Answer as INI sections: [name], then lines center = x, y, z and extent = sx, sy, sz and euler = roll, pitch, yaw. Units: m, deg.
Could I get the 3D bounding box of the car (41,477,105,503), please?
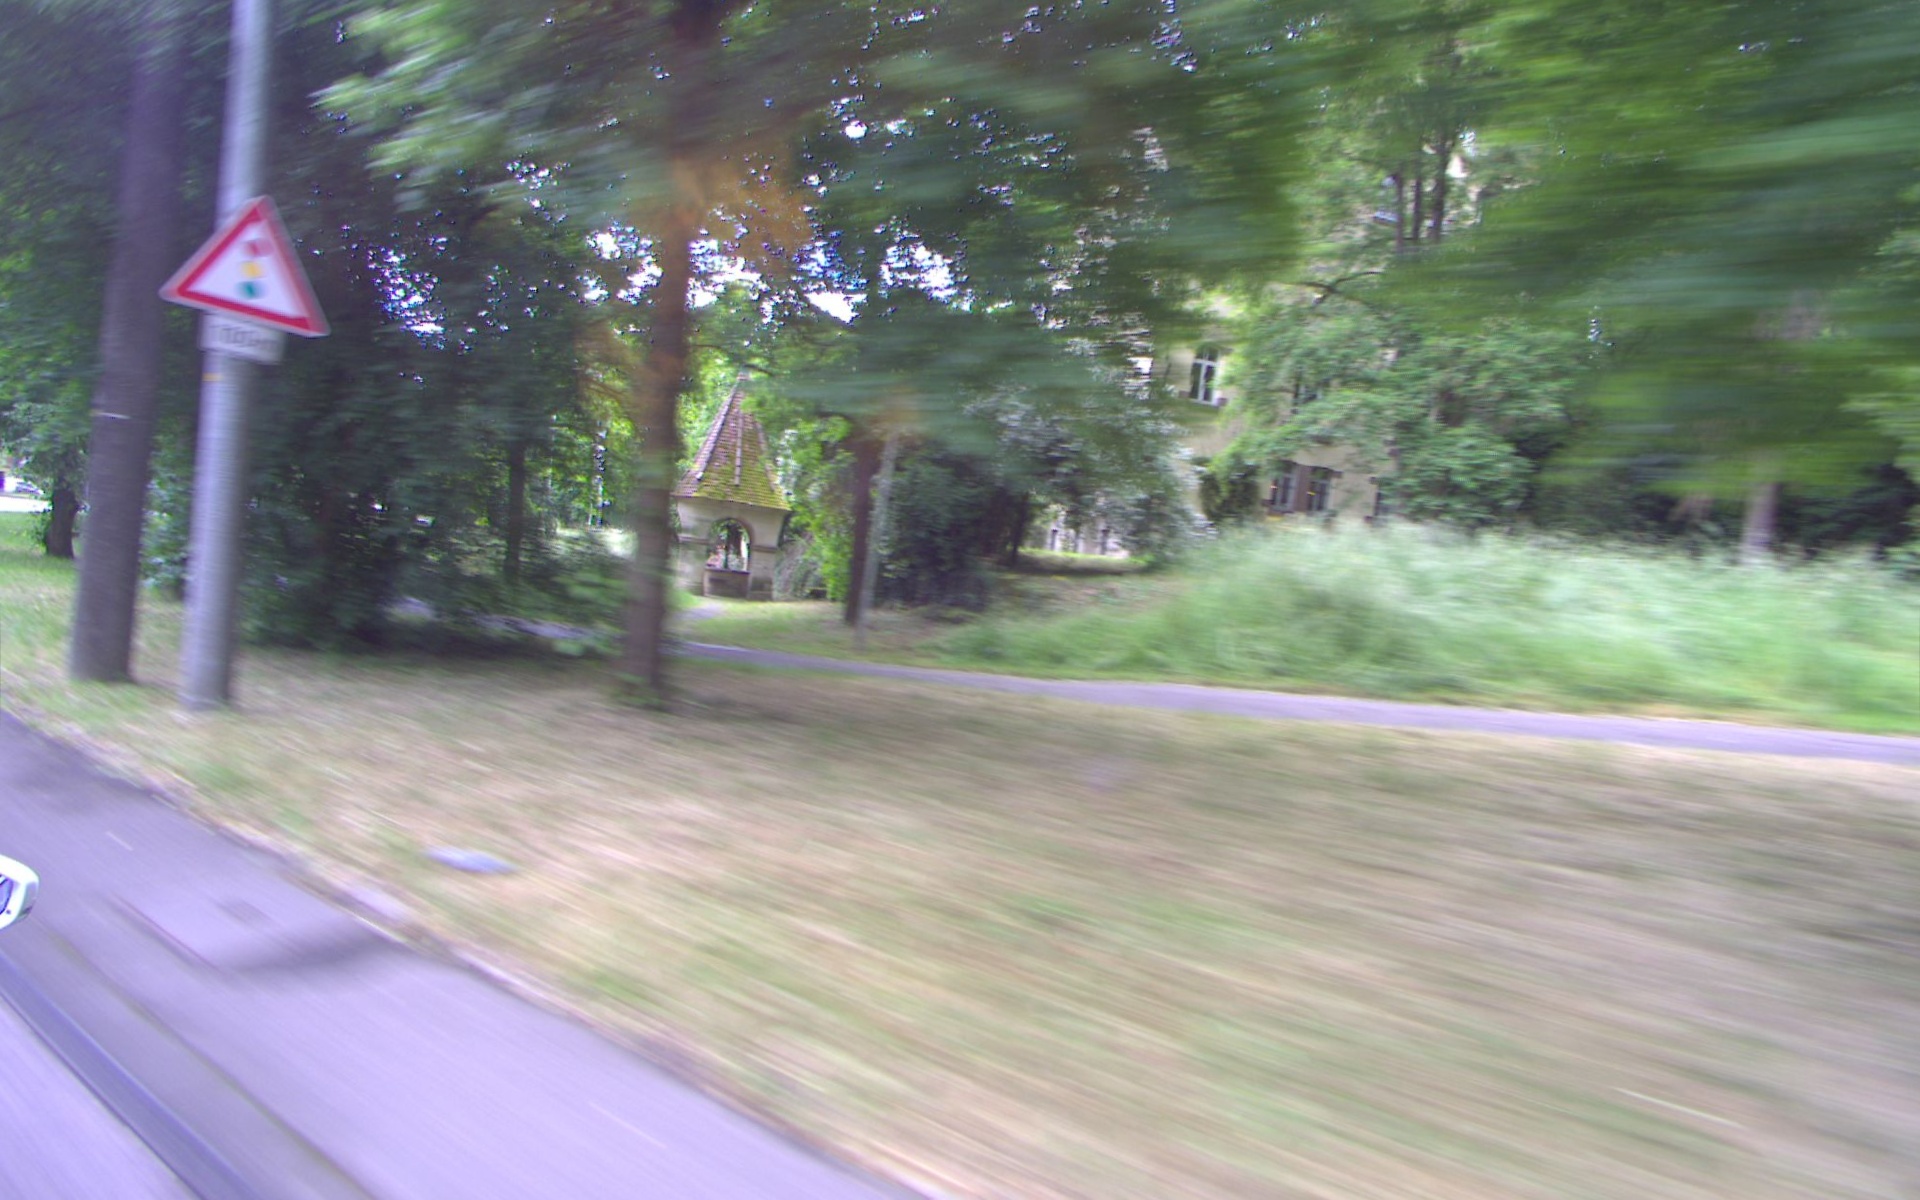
[car]
center = -72.779, -9.003, 82.621
extent = 1.966, 1.639, 4.435
euler = 4, 1, -12
